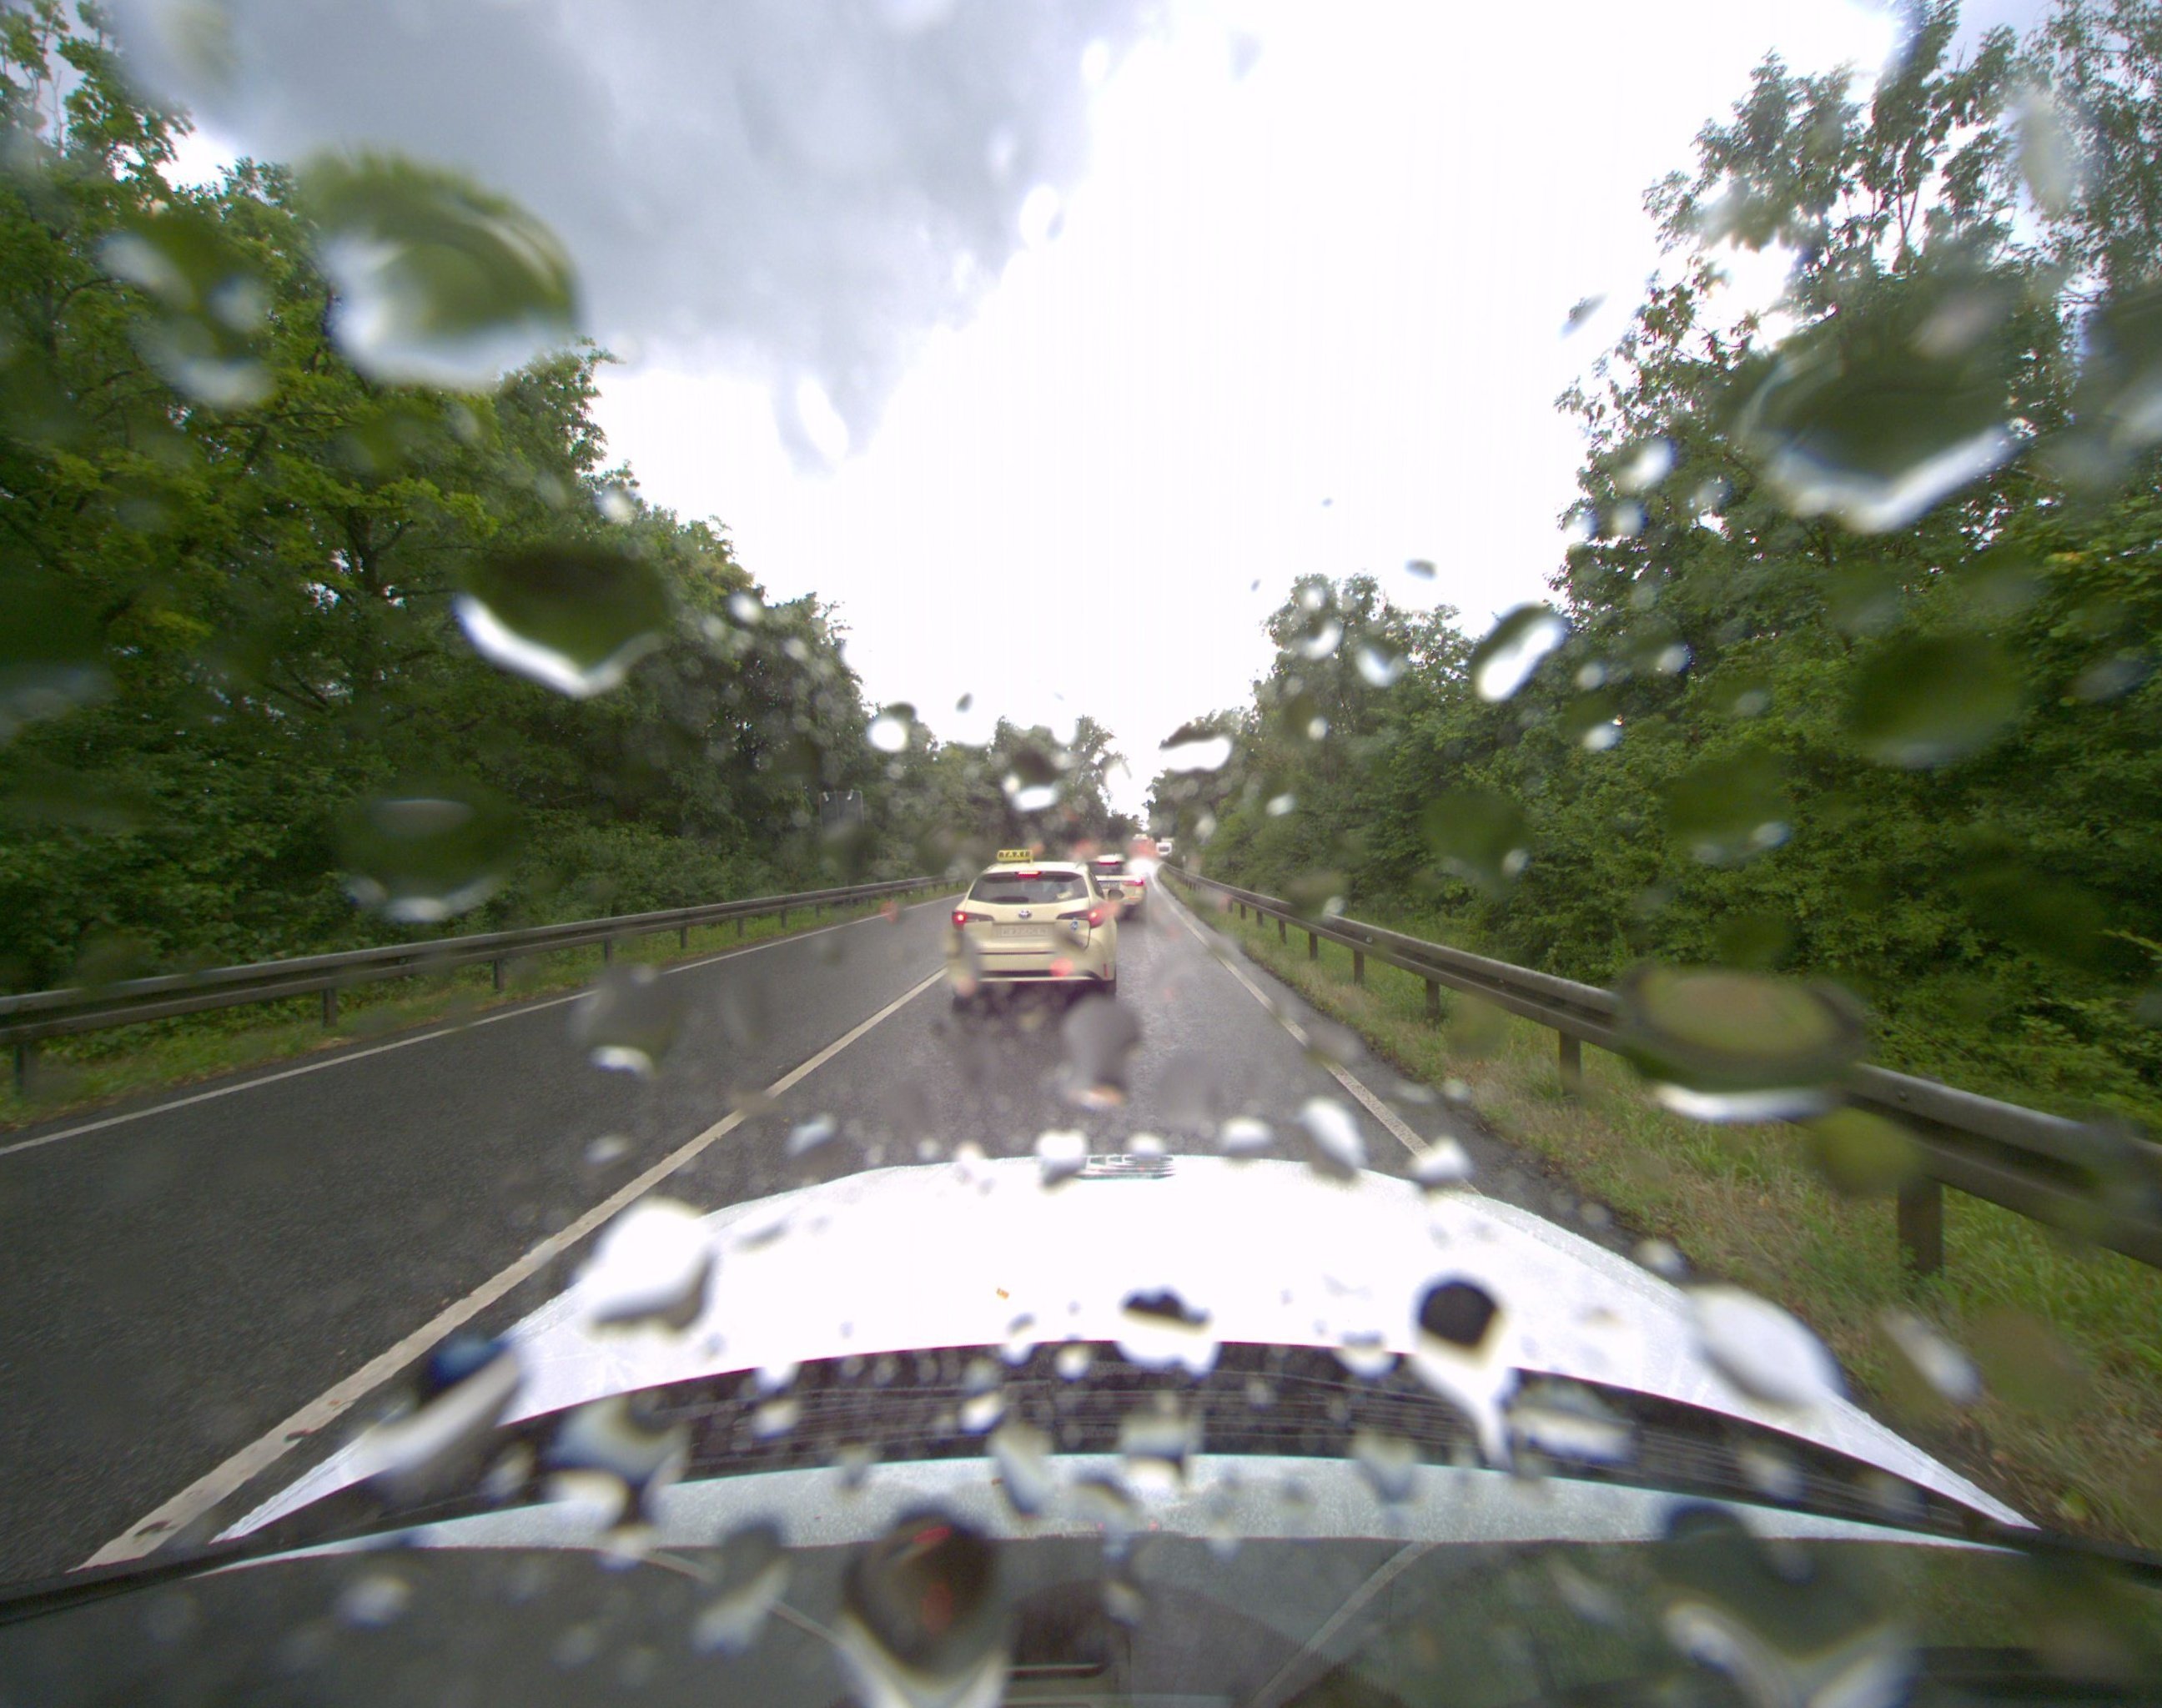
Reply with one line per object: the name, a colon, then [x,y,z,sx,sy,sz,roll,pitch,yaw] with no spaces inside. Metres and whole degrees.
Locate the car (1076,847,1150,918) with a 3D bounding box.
car: [0.836,0.652,20.164,1.660,1.580,3.895,0,-1,3]

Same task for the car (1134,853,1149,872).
car: [4.925,0.689,65.953,1.161,1.547,2.607,0,-1,5]

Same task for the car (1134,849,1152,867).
car: [5.924,0.402,77.968,1.609,1.613,3.625,0,-1,4]

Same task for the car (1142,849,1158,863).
car: [8.312,0.259,97.836,1.760,1.547,3.821,0,-1,7]

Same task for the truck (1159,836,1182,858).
truck: [15.223,-1.153,138.454,3.086,3.680,7.024,-1,-1,12]

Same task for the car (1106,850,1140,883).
car: [2.123,0.600,40.952,1.604,1.547,3.818,-1,0,4]

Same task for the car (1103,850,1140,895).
car: [1.460,0.653,30.085,1.296,1.547,3.261,0,-1,2]

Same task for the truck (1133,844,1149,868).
truck: [9.821,0.285,133.562,2.526,3.825,5.248,0,-1,3]

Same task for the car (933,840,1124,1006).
car: [-0.442,0.683,9.891,1.827,1.580,4.158,0,-1,2]

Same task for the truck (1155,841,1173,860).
truck: [12.243,-0.485,120.173,2.537,2.713,7.546,0,-1,5]
